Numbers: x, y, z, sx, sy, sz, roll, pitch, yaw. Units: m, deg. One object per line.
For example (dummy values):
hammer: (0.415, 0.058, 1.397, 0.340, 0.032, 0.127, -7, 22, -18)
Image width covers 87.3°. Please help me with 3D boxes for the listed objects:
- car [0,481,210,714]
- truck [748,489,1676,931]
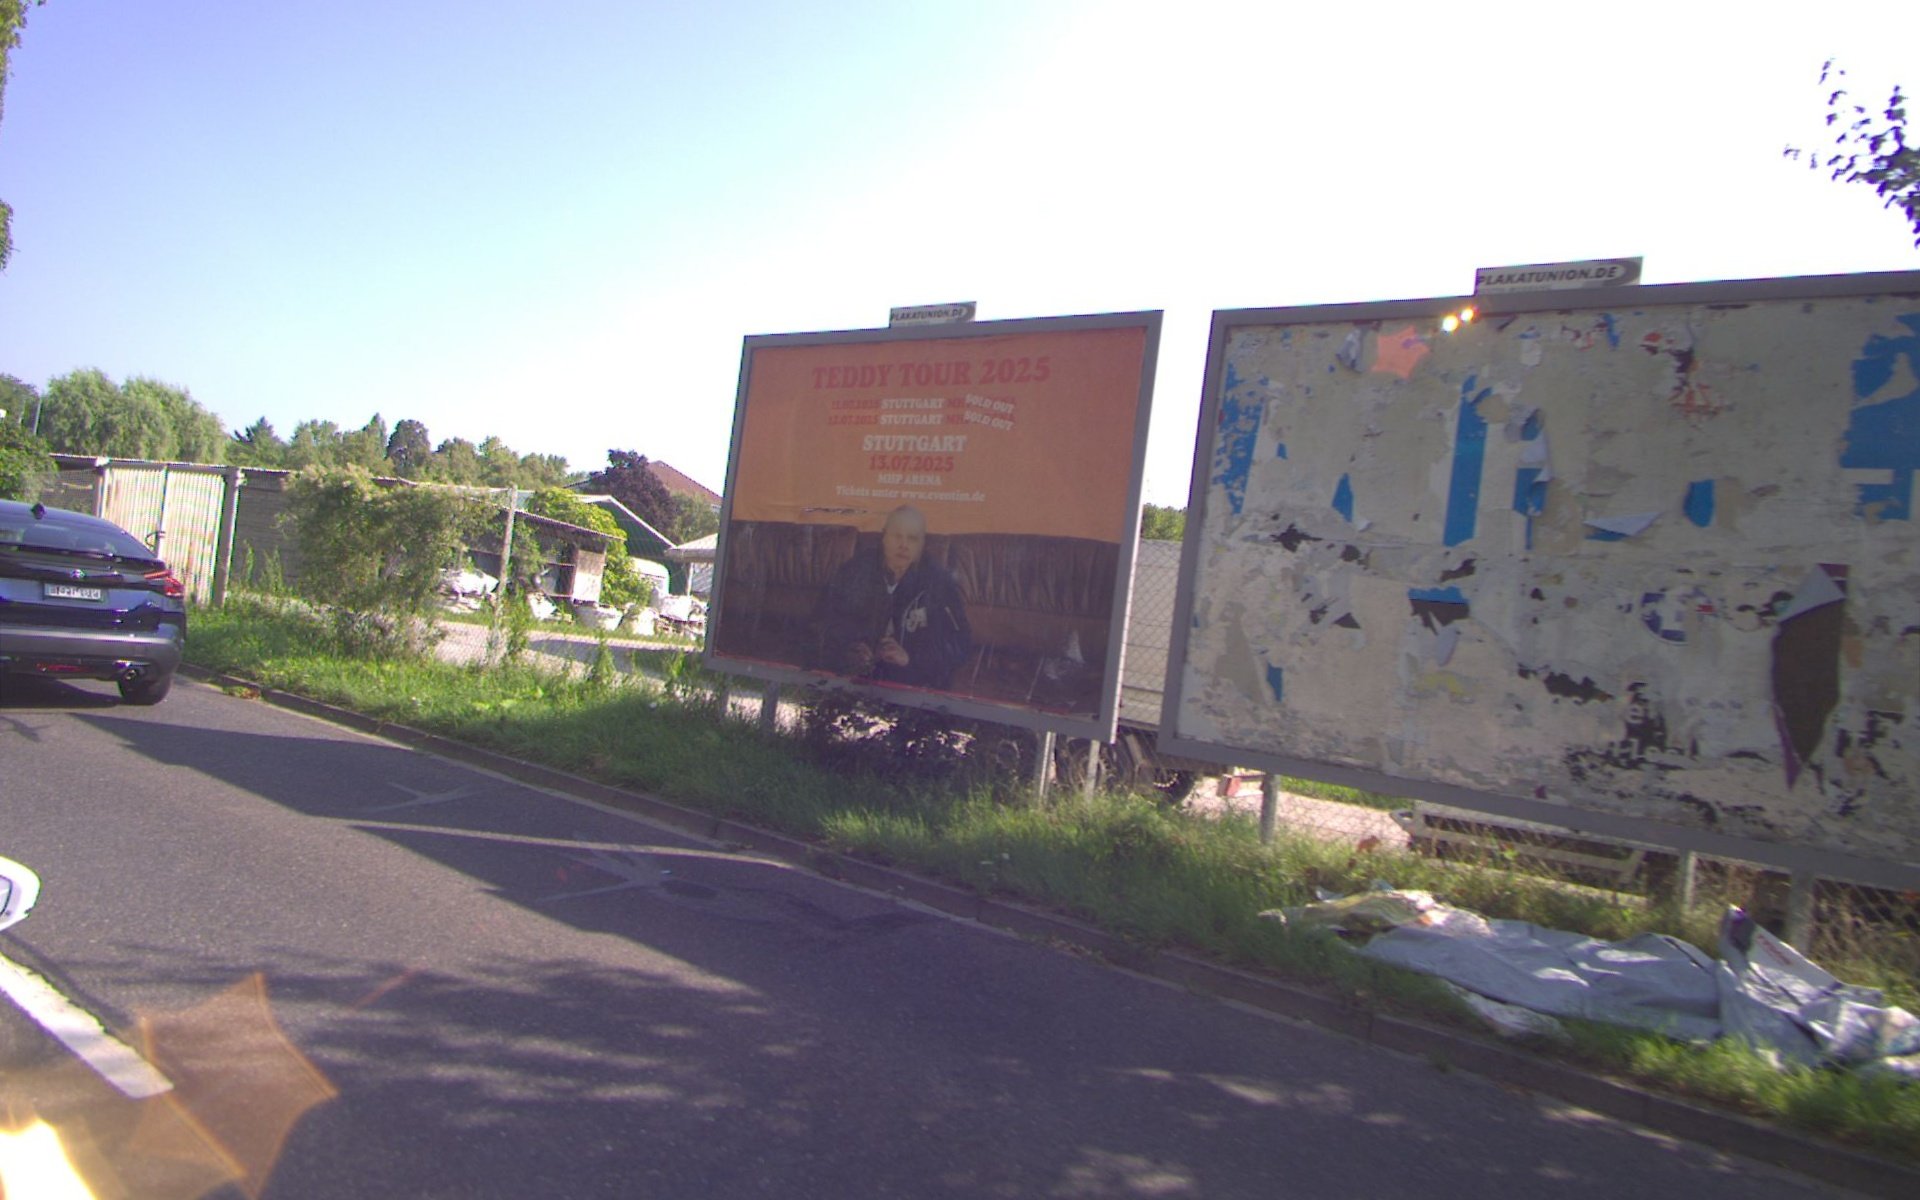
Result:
car: (-8.234, -0.172, 8.380, 4.184, 1.606, 1.648, 6, -2, 32)
truck: (1.535, 0.525, 8.285, 6.800, 2.257, 1.919, 6, -3, 33)
